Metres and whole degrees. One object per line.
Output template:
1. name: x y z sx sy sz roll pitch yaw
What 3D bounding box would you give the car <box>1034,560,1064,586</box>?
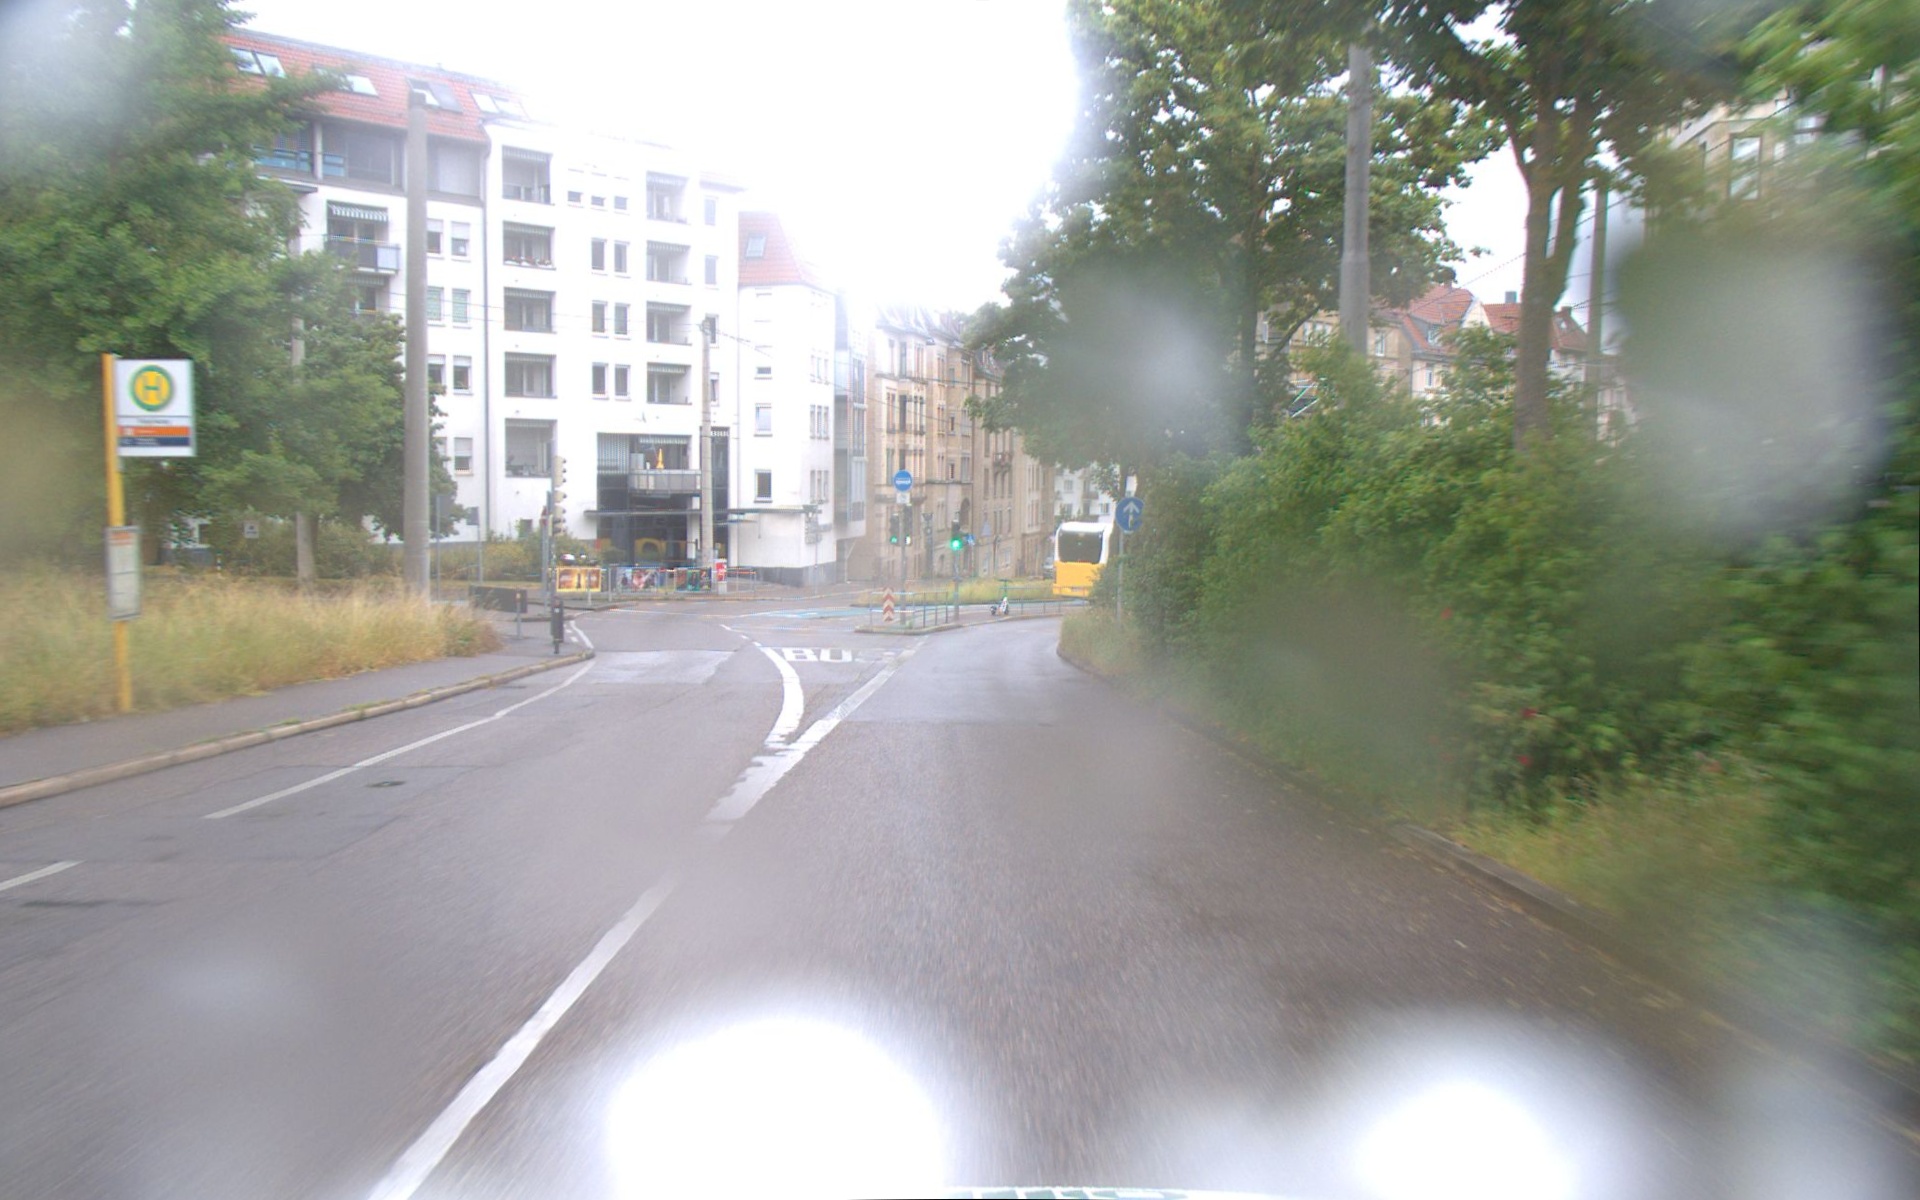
1. car: 7.764 -2.342 144.353 2.094 2.174 4.856 2 1 -2

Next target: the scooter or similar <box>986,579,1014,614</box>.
1. scooter or similar: 1.322 -0.126 54.644 0.424 1.132 1.606 3 2 19

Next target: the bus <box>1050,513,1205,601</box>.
1. bus: 7.332 -1.764 70.951 2.546 3.529 9.078 2 1 34

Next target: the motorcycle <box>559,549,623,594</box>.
1. motorcycle: -13.687 -1.061 61.405 0.686 1.576 2.432 6 3 35
